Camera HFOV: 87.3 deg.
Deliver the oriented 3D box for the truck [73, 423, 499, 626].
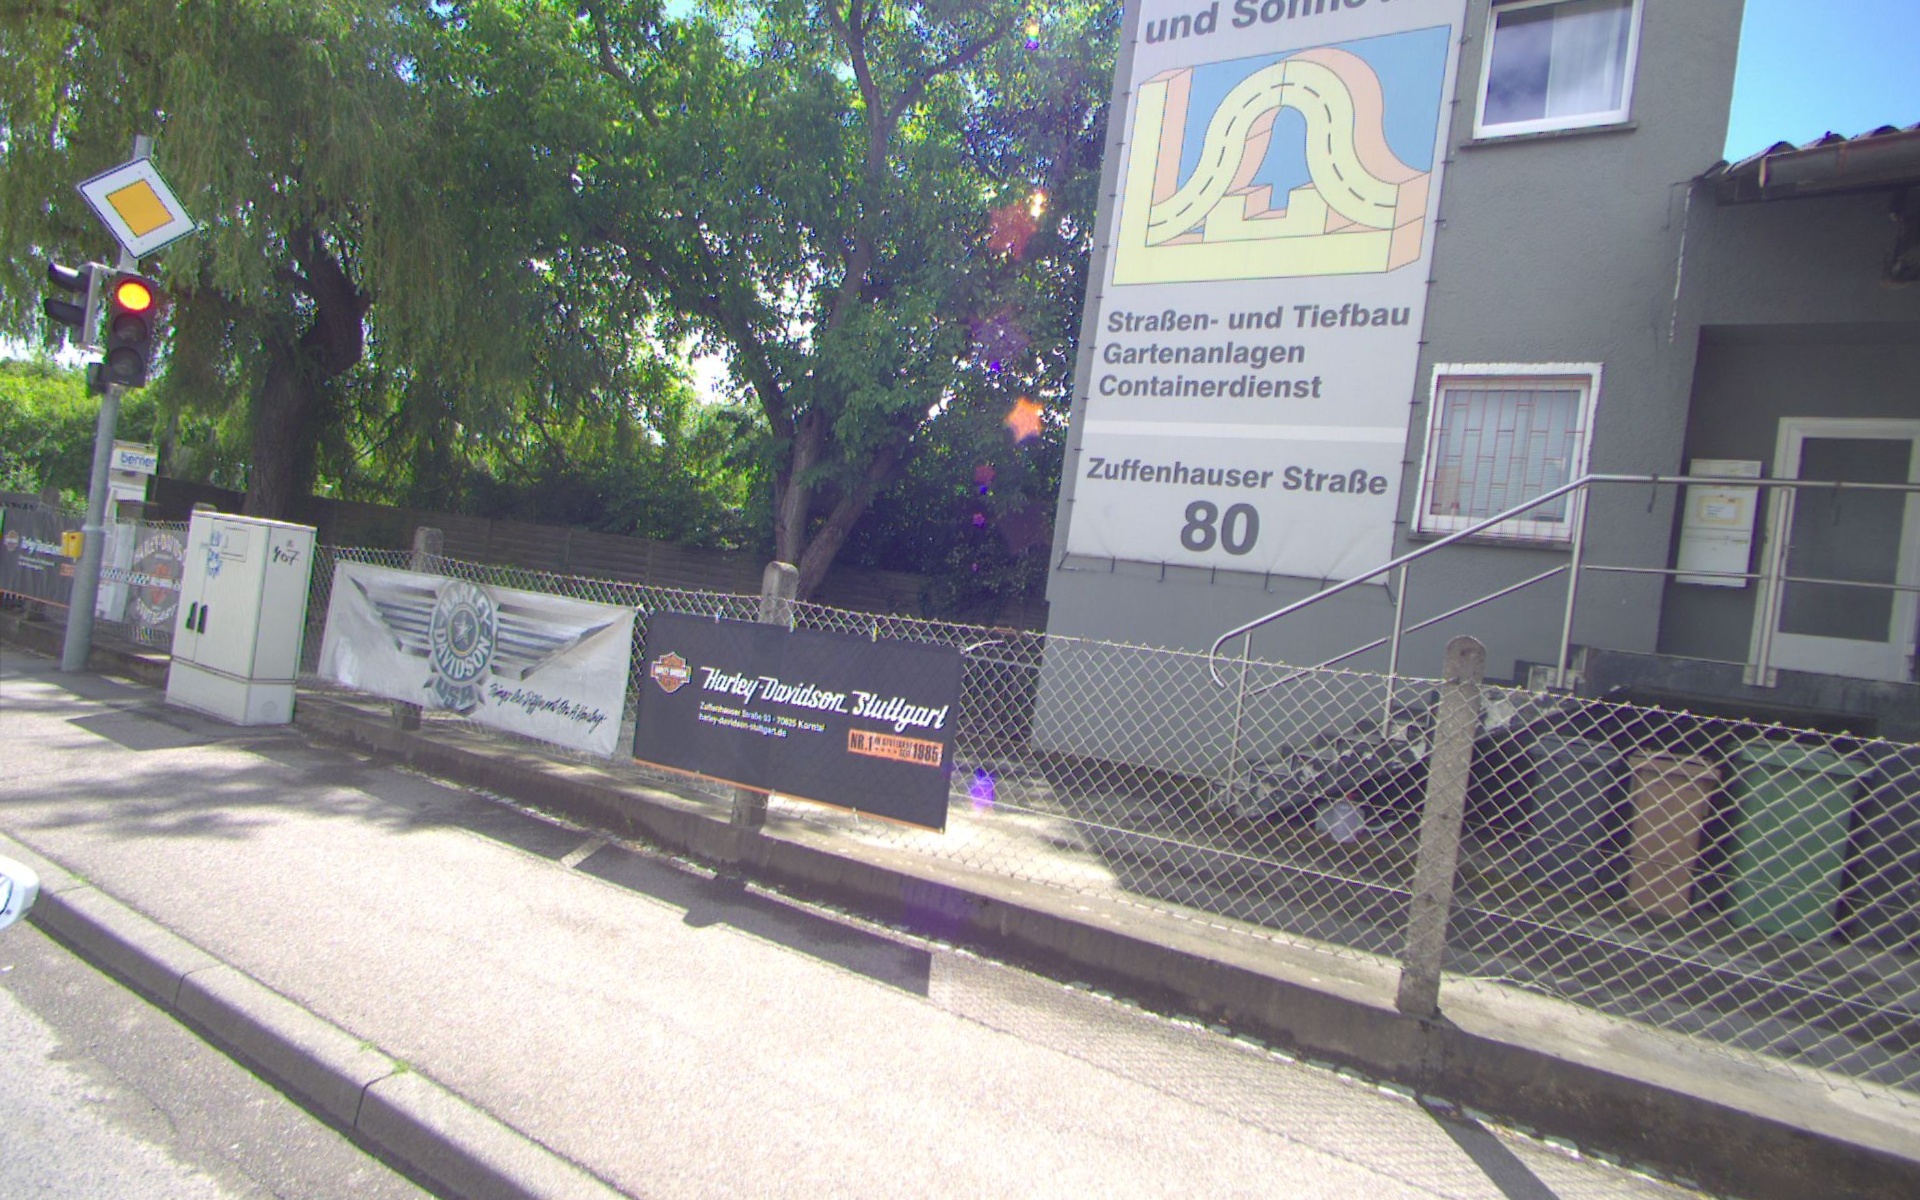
[{"bbox_3d":[-17.725,-1.678,27.785,2.795,3.577,9.744,7,-4,18],"label":"truck"}]
